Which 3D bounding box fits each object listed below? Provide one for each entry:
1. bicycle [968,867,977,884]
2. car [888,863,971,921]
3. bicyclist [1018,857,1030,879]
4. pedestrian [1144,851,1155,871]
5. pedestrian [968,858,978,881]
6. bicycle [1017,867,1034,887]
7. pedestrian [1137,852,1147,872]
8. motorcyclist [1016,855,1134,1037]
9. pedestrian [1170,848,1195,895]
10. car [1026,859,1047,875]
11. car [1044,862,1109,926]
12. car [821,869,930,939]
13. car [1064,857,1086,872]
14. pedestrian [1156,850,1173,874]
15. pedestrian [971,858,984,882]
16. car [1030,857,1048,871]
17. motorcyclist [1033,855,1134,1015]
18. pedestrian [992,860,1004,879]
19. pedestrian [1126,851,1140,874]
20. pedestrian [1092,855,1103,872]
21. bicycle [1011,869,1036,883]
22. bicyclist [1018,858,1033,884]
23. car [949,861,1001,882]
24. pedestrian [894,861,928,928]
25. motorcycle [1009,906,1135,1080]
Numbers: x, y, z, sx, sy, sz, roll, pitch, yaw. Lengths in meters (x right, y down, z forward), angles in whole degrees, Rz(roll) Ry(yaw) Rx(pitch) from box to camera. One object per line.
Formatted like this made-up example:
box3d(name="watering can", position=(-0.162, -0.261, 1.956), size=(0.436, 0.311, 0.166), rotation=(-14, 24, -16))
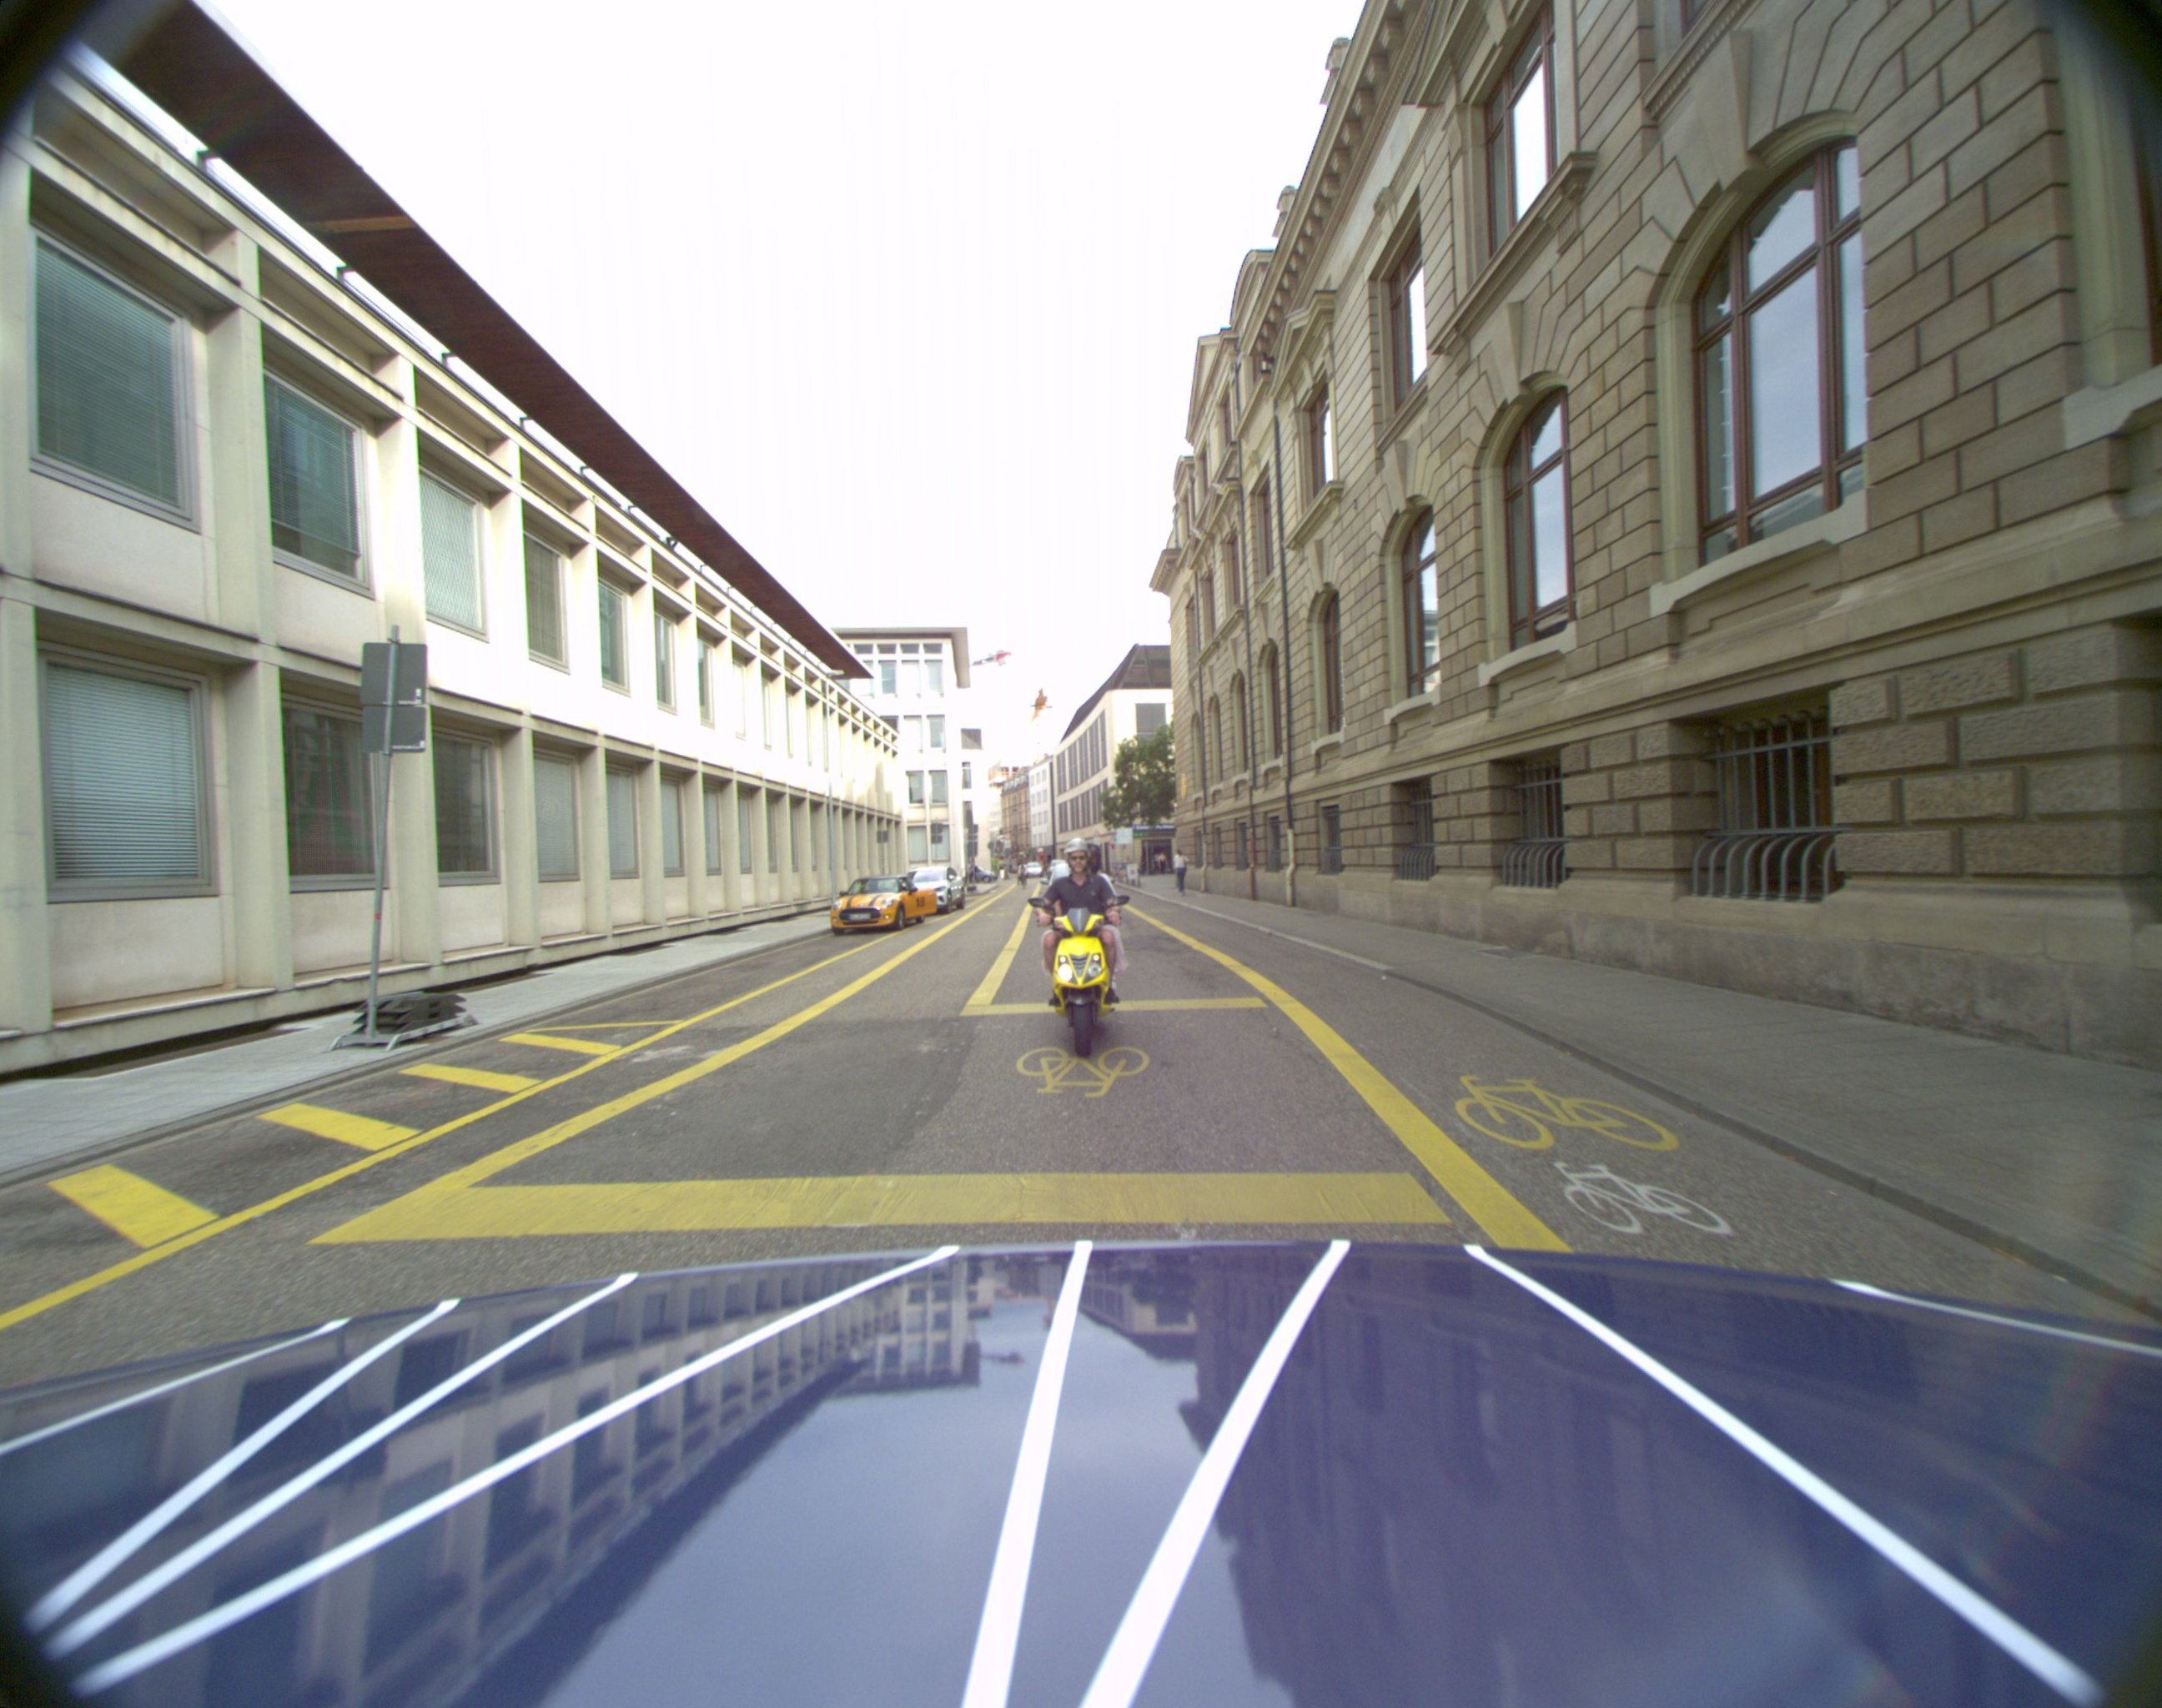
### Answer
box3d(name="bicycle", position=(-7.558, 1.494, 53.041), size=(0.590, 1.160, 1.813), rotation=(-2, 1, -8))
box3d(name="car", position=(-5.190, 1.245, 26.637), size=(1.865, 1.596, 4.511), rotation=(-5, 1, 0))
box3d(name="bicyclist", position=(-4.233, 1.053, 56.325), size=(0.644, 1.609, 0.622), rotation=(-5, 0, -18))
box3d(name="pedestrian", position=(6.376, 0.683, 70.783), size=(0.648, 1.820, 0.860), rotation=(-3, 1, -16))
box3d(name="pedestrian", position=(-8.455, 1.187, 59.451), size=(0.644, 1.755, 0.653), rotation=(-3, 1, -15))
box3d(name="bicycle", position=(-3.579, 1.458, 49.151), size=(0.871, 1.188, 2.863), rotation=(-2, 1, -2))
box3d(name="pedestrian", position=(5.668, 0.714, 70.466), size=(0.648, 1.820, 0.860), rotation=(-3, 1, -16))
box3d(name="motorcyclist", position=(-0.018, 0.738, 6.593), size=(0.924, 1.445, 1.066), rotation=(-1, 0, 4))
box3d(name="pedestrian", position=(4.037, 0.685, 30.274), size=(0.665, 1.809, 1.047), rotation=(-4, 1, -3))
box3d(name="car", position=(-4.758, 1.384, 80.785), size=(1.564, 1.547, 4.099), rotation=(-3, 1, -10))
box3d(name="car", position=(-0.143, 0.999, 20.467), size=(1.562, 1.482, 3.783), rotation=(-1, 0, -1))
box3d(name="car", position=(-5.263, 1.228, 19.998), size=(1.684, 1.426, 3.886), rotation=(-4, 1, 1))
box3d(name="car", position=(-0.687, 1.095, 80.489), size=(1.564, 1.547, 4.099), rotation=(-3, 1, -10))
box3d(name="pedestrian", position=(6.438, 0.609, 58.605), size=(1.029, 1.710, 0.818), rotation=(-5, 1, -3))
box3d(name="pedestrian", position=(-8.049, 1.221, 58.930), size=(0.746, 1.804, 0.755), rotation=(-6, 1, -15))
box3d(name="car", position=(-5.146, 1.219, 92.505), size=(1.564, 1.547, 4.099), rotation=(-3, 1, -10))
box3d(name="motorcyclist", position=(0.037, 0.741, 7.290), size=(0.903, 1.445, 0.742), rotation=(-1, 0, 3))
box3d(name="pedestrian", position=(-7.877, 1.460, 72.017), size=(0.655, 1.755, 0.642), rotation=(-7, 2, -40))
box3d(name="pedestrian", position=(4.119, 0.679, 60.052), size=(0.775, 1.820, 0.860), rotation=(-3, 1, -23))
box3d(name="pedestrian", position=(1.722, 1.017, 79.059), size=(0.879, 1.699, 0.910), rotation=(-6, 1, -3))
box3d(name="bicycle", position=(-4.259, 1.630, 56.305), size=(1.726, 0.829, 0.601), rotation=(-5, -2, -18))
box3d(name="bicyclist", position=(-3.581, 1.099, 49.225), size=(0.892, 1.585, 0.877), rotation=(-2, 1, -2))
box3d(name="car", position=(-8.968, 1.487, 64.447), size=(4.194, 1.581, 1.814), rotation=(-2, 1, -5))
box3d(name="pedestrian", position=(-4.549, 1.073, 20.413), size=(0.705, 1.753, 0.700), rotation=(-2, 1, -3))
box3d(name="motorcycle", position=(-0.007, 1.113, 6.742), size=(0.929, 1.158, 2.127), rotation=(-1, 0, 3))
